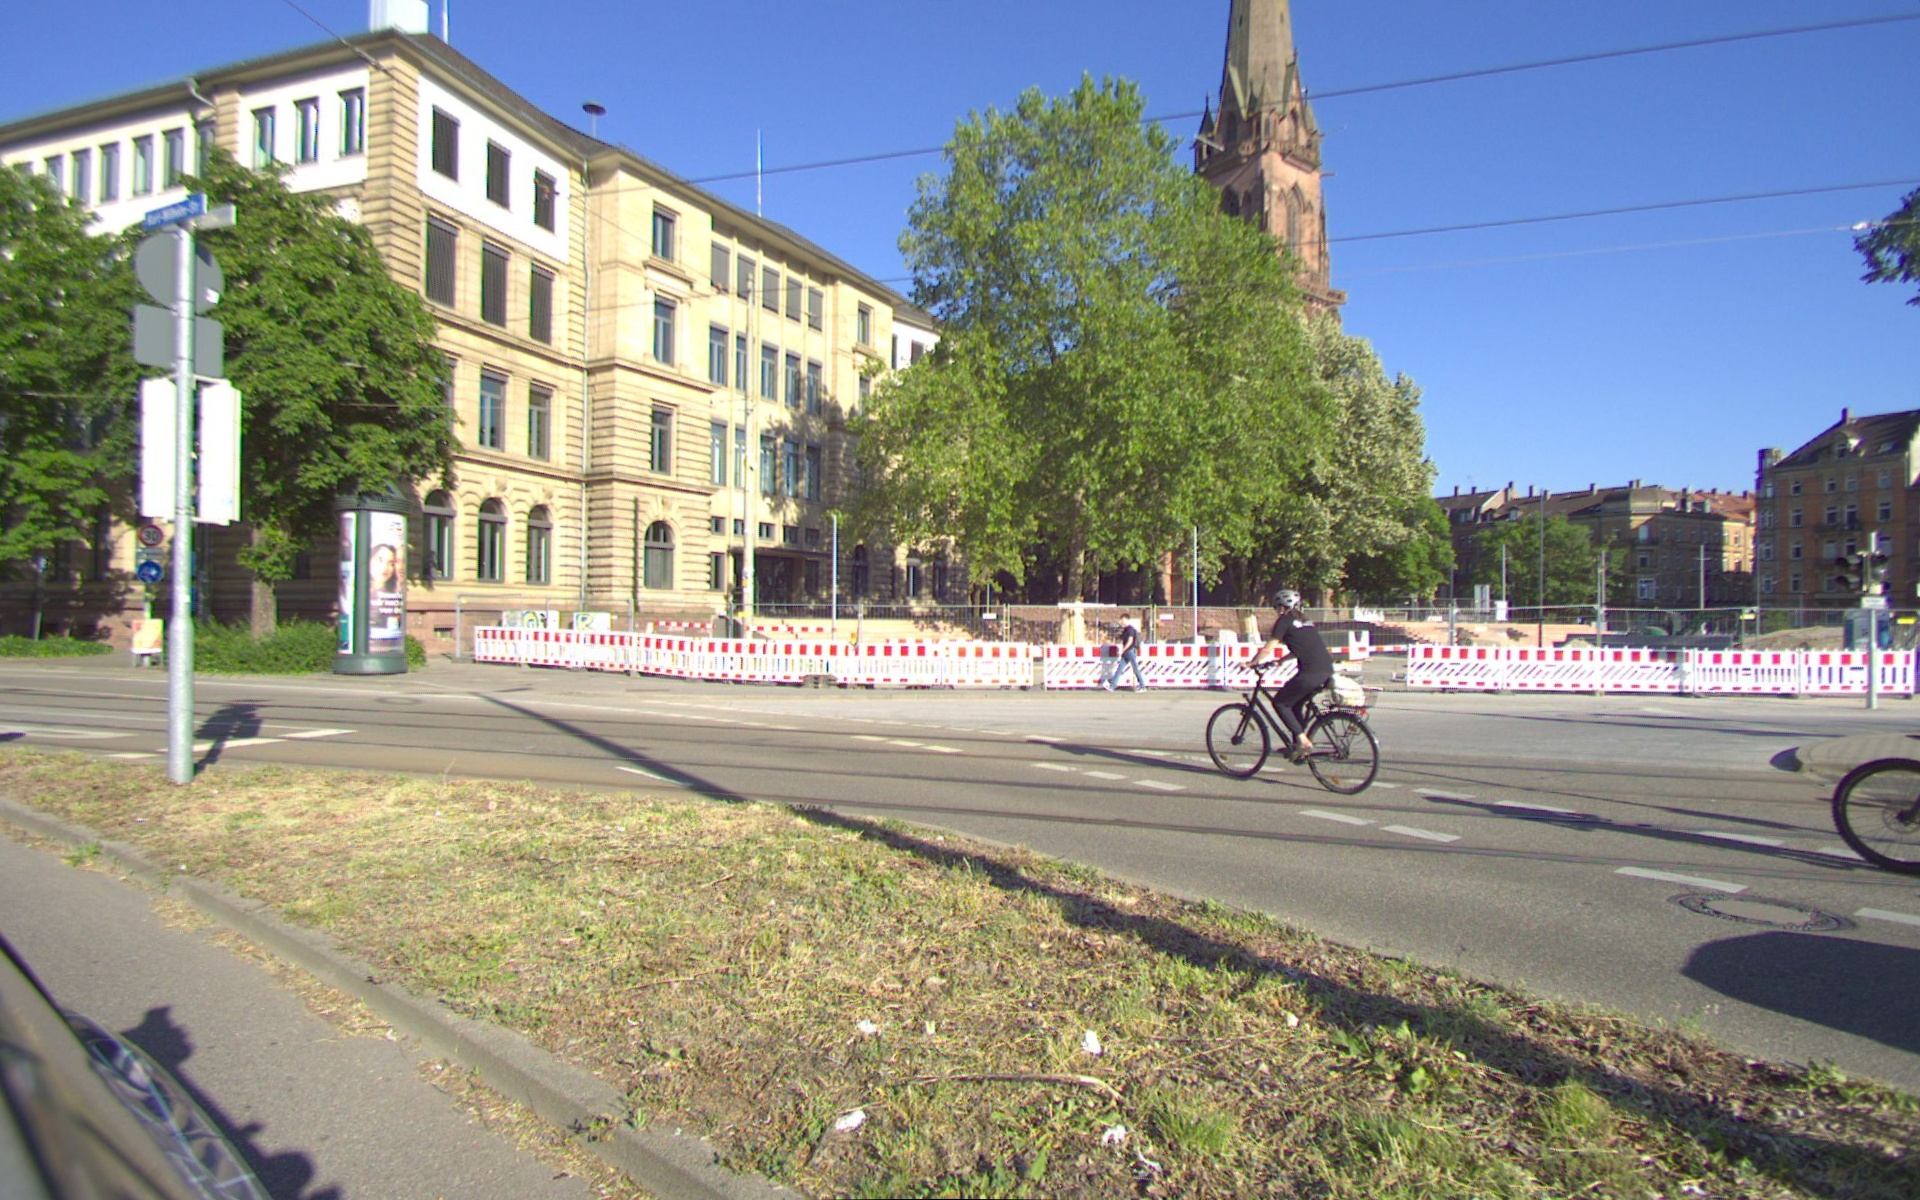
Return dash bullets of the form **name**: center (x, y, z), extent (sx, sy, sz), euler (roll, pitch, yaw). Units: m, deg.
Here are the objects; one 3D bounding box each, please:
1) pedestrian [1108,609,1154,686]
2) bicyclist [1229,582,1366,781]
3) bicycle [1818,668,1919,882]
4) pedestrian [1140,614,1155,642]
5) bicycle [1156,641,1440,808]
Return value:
- **pedestrian**: center (3.903, 1.078, 23.098), extent (0.889, 1.710, 0.710), euler (2, -2, 3)
- **bicyclist**: center (3.022, 0.711, 9.081), extent (0.699, 1.670, 0.903), euler (4, -4, -38)
- **bicycle**: center (6.153, 1.015, 5.487), extent (0.665, 1.189, 2.187), euler (2, -2, -38)
- **pedestrian**: center (11.331, 1.685, 61.179), extent (0.675, 1.660, 0.629), euler (-1, -1, 42)
- **bicycle**: center (2.951, 1.038, 9.137), extent (0.665, 1.260, 2.462), euler (4, -4, -38)
